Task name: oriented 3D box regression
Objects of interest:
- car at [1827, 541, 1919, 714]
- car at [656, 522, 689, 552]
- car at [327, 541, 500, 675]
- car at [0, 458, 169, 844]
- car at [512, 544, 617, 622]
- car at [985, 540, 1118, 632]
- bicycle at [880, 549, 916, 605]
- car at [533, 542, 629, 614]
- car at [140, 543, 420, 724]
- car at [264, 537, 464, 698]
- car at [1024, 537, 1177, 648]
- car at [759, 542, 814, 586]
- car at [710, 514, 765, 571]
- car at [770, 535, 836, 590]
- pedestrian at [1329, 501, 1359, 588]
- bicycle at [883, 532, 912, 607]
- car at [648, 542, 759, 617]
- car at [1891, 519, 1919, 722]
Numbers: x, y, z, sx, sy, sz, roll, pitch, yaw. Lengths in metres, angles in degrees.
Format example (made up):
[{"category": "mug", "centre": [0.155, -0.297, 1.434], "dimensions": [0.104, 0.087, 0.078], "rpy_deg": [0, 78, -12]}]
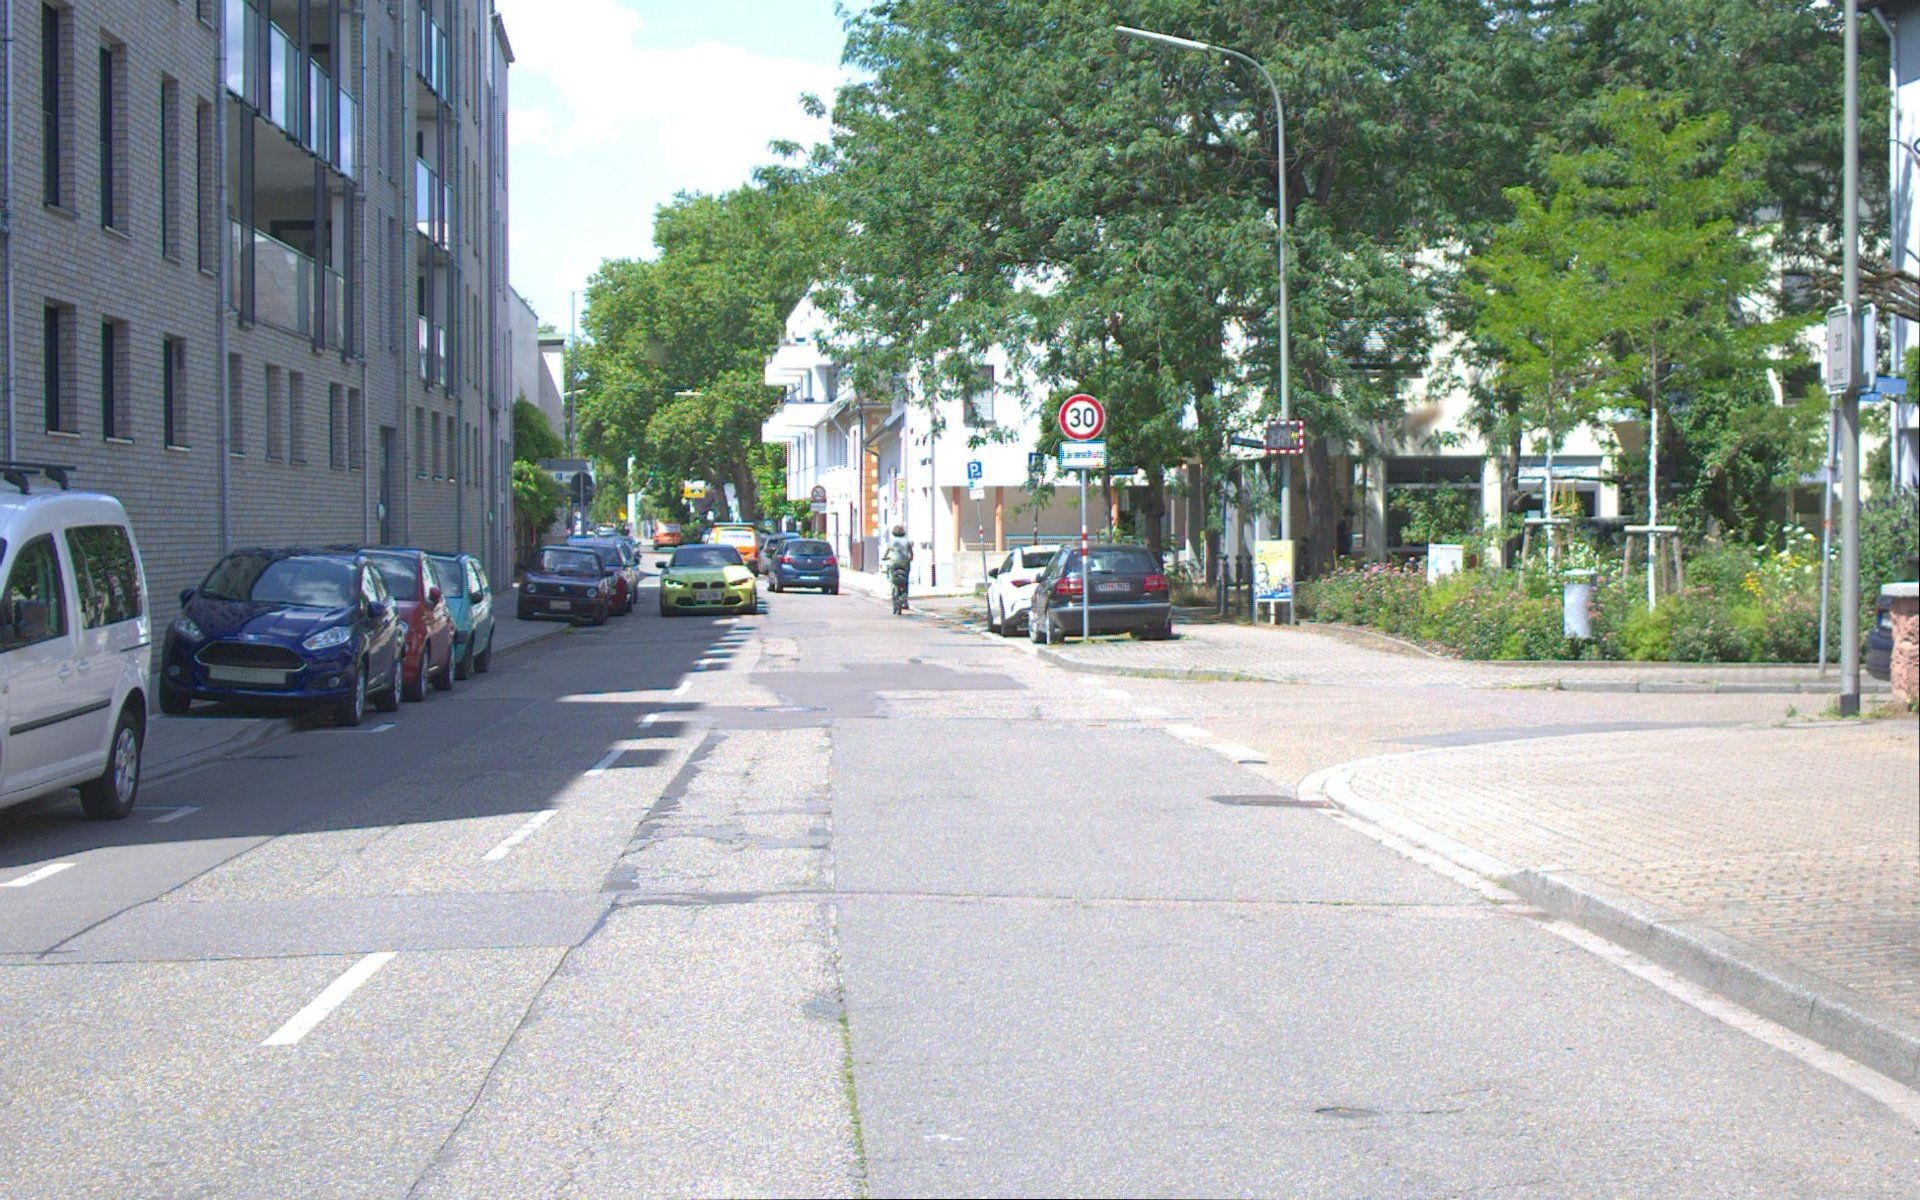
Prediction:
[{"category": "car", "centre": [9.505, 0.211, 29.616], "dimensions": [3.597, 1.444, 1.742], "rpy_deg": [0, 1, -3]}, {"category": "car", "centre": [-19.445, -4.248, 232.473], "dimensions": [2.156, 2.007, 4.001], "rpy_deg": [0, 1, -4]}, {"category": "car", "centre": [-6.368, 0.055, 40.357], "dimensions": [1.590, 1.451, 3.704], "rpy_deg": [2, 1, -3]}, {"category": "car", "centre": [-5.512, 0.198, 17.598], "dimensions": [1.757, 1.885, 4.336], "rpy_deg": [2, 1, 1]}, {"category": "car", "centre": [-7.470, -0.348, 65.268], "dimensions": [1.732, 1.437, 4.001], "rpy_deg": [0, 1, -3]}, {"category": "car", "centre": [1.419, -0.245, 54.934], "dimensions": [1.778, 1.415, 4.001], "rpy_deg": [0, 1, -3]}, {"category": "bicycle", "centre": [-1.236, -0.461, 68.367], "dimensions": [0.483, 1.111, 1.196], "rpy_deg": [0, 1, -13]}, {"category": "car", "centre": [-7.725, -0.472, 70.335], "dimensions": [1.732, 1.437, 4.001], "rpy_deg": [0, 1, -3]}, {"category": "car", "centre": [-5.903, 0.241, 30.251], "dimensions": [1.723, 1.451, 4.005], "rpy_deg": [1, 1, -1]}, {"category": "car", "centre": [-6.038, 0.136, 35.130], "dimensions": [1.590, 1.548, 3.571], "rpy_deg": [0, 1, -3]}, {"category": "car", "centre": [1.926, -0.135, 48.257], "dimensions": [1.692, 1.415, 4.001], "rpy_deg": [-3, 1, -3]}, {"category": "car", "centre": [-6.612, -1.383, 130.872], "dimensions": [1.993, 1.612, 4.001], "rpy_deg": [0, 1, -4]}, {"category": "car", "centre": [-7.985, -2.083, 123.539], "dimensions": [1.839, 2.007, 4.001], "rpy_deg": [0, 2, -2]}, {"category": "car", "centre": [-4.194, -1.015, 92.320], "dimensions": [1.715, 1.397, 4.001], "rpy_deg": [0, 2, -2]}, {"category": "pedestrian", "centre": [8.180, -1.183, 73.184], "dimensions": [0.595, 1.853, 0.603], "rpy_deg": [0, 1, 10]}, {"category": "bicycle", "centre": [-1.242, -0.619, 68.386], "dimensions": [0.477, 1.485, 0.576], "rpy_deg": [0, 1, -12]}, {"category": "car", "centre": [-5.148, -0.434, 69.466], "dimensions": [1.993, 1.376, 4.393], "rpy_deg": [2, 1, -2]}, {"category": "car", "centre": [9.351, 0.086, 25.696], "dimensions": [4.268, 1.525, 1.742], "rpy_deg": [-2, 0, 1]}]
